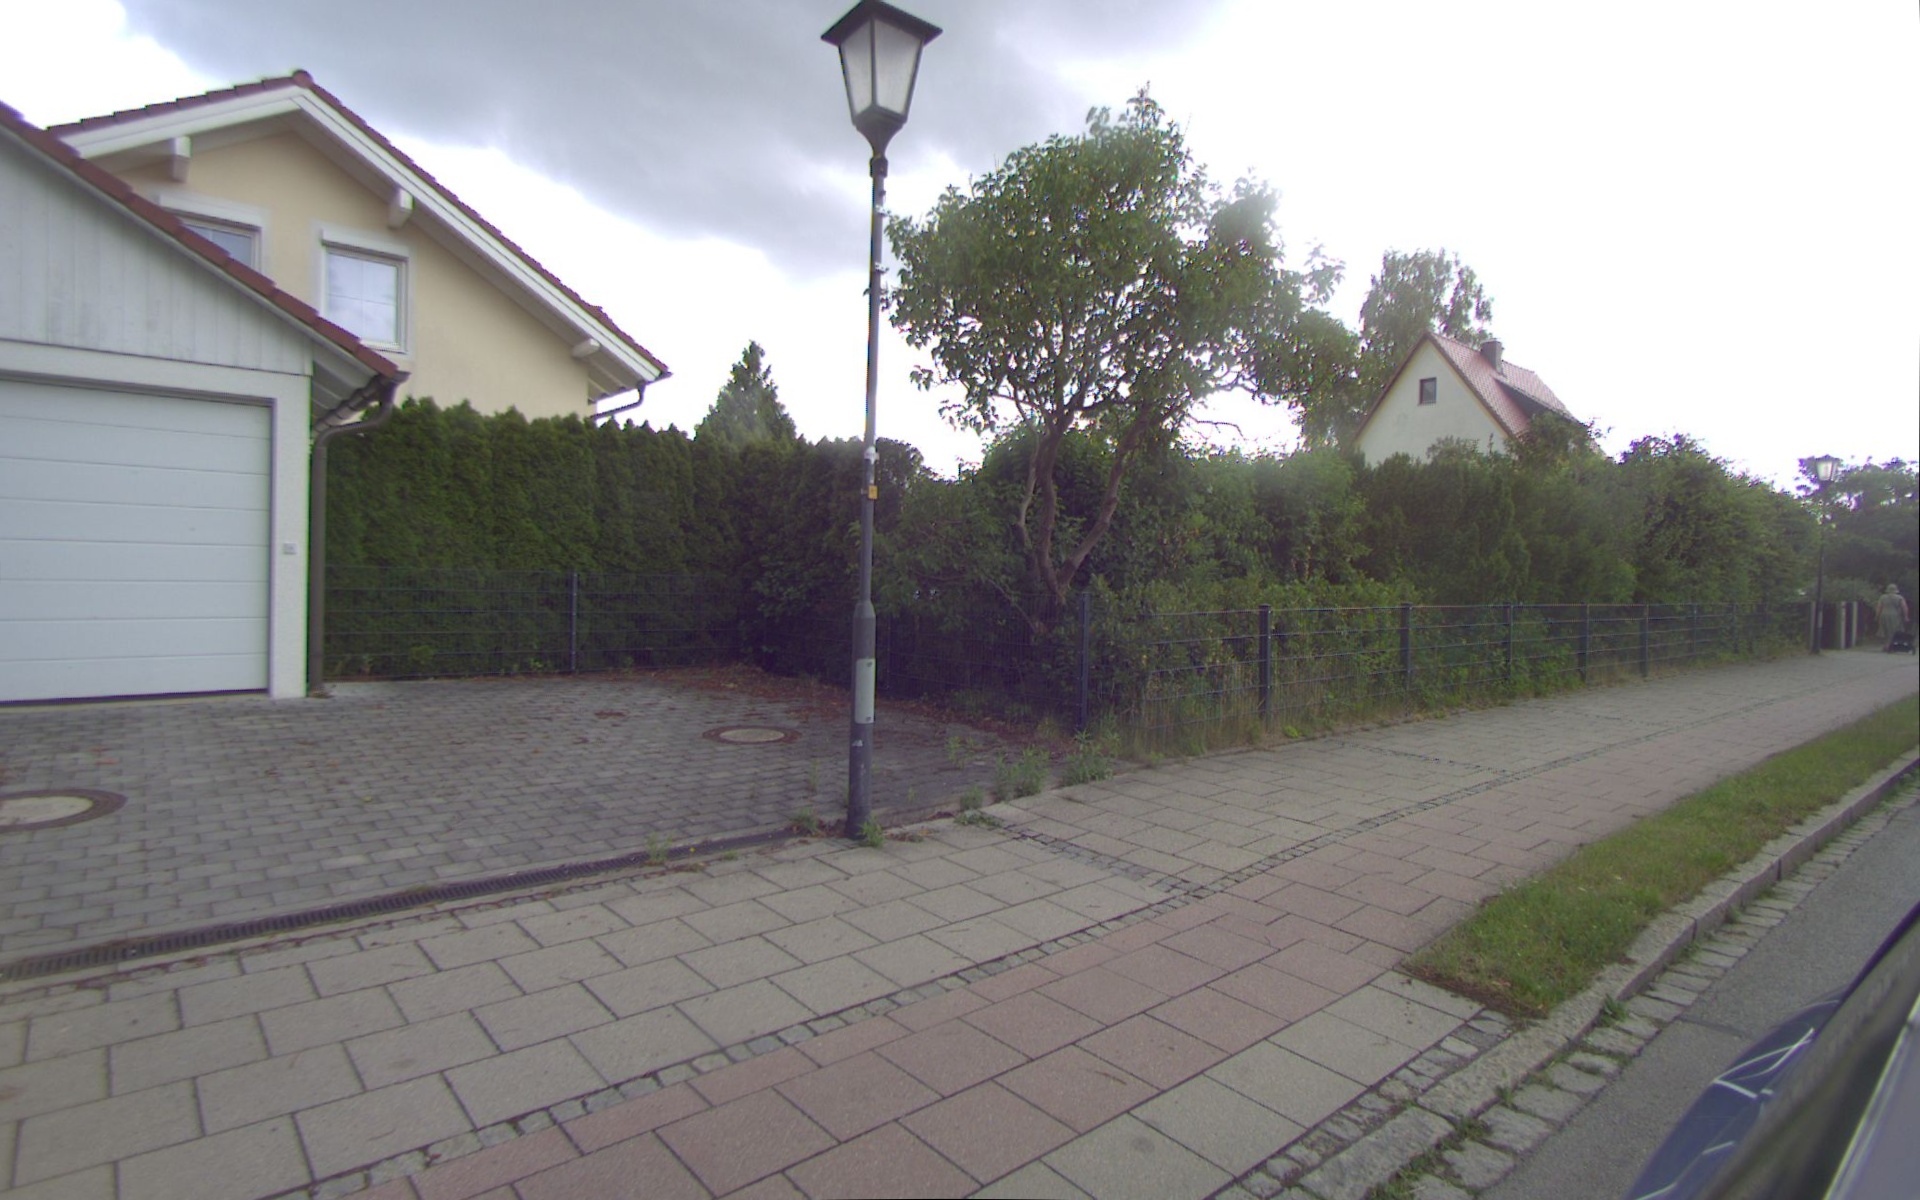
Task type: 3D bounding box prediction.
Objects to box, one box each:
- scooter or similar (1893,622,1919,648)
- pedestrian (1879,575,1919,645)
[{"bbox_3d":[22.053,0.813,23.395,0.614,0.563,0.733,1,0,35],"label":"scooter or similar"},{"bbox_3d":[22.408,0.236,24.012,0.789,1.622,0.662,2,1,38],"label":"pedestrian"}]
